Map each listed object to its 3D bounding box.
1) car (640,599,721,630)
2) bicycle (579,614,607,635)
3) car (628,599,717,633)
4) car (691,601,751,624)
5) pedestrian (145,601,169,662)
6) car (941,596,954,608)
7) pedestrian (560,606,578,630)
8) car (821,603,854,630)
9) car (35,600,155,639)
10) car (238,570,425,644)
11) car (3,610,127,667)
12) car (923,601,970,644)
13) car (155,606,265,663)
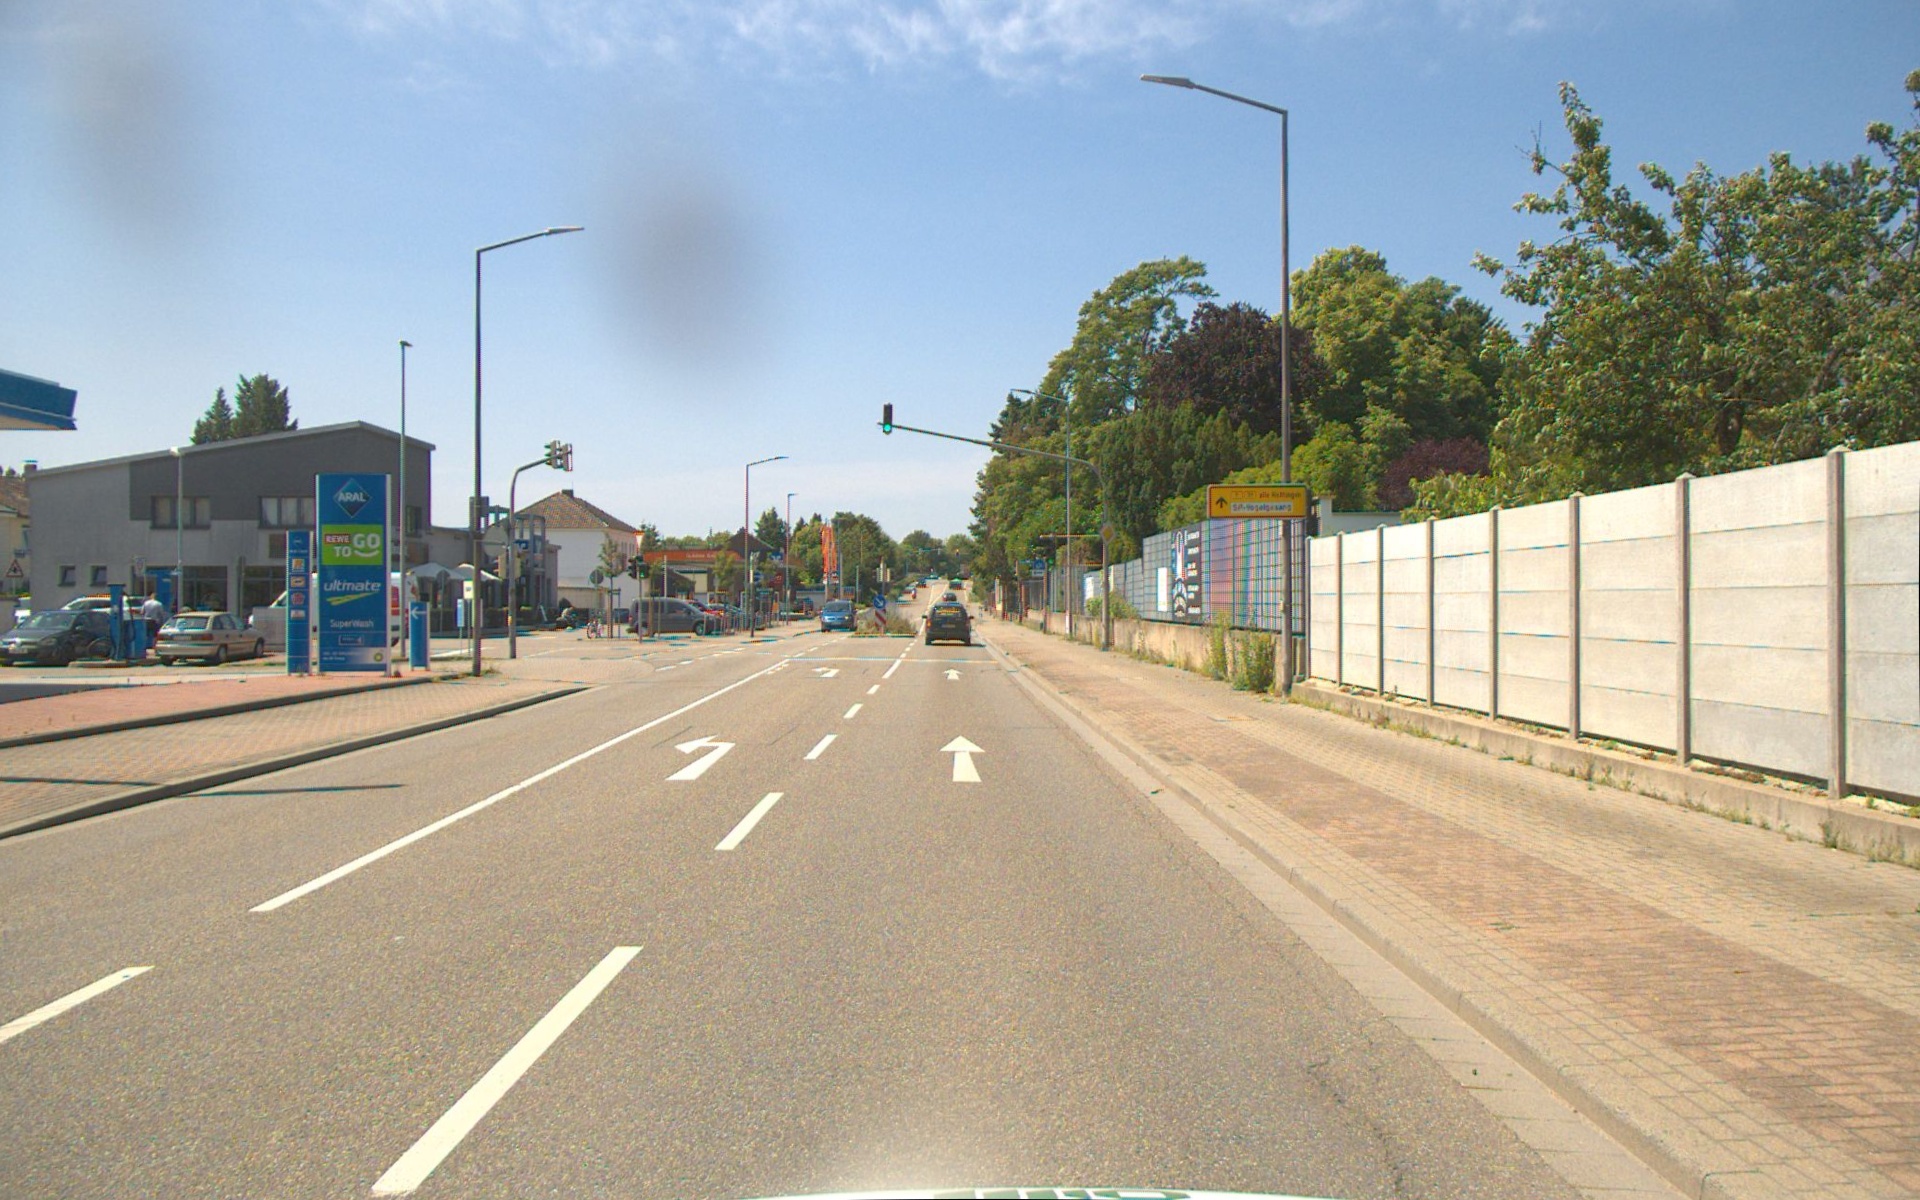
[{"bbox_3d":[-14.185,0.726,84.172,3.908,1.534,1.553,0,0,-4],"label":"car"},{"bbox_3d":[-14.958,1.001,67.484,0.600,0.807,2.574,0,0,-1],"label":"bicycle"},{"bbox_3d":[-13.286,0.741,76.603,3.908,1.534,1.553,0,0,-4],"label":"car"},{"bbox_3d":[-16.144,0.846,111.736,3.908,1.534,1.553,0,0,-4],"label":"car"},{"bbox_3d":[-22.813,0.889,46.994,0.603,1.721,0.703,0,0,-27],"label":"pedestrian"},{"bbox_3d":[-1.551,0.205,201.357,1.631,1.481,3.471,0,0,-1],"label":"car"},{"bbox_3d":[-21.287,0.963,90.120,0.600,1.283,0.755,0,0,26],"label":"pedestrian"},{"bbox_3d":[-6.559,0.870,88.652,1.554,1.418,3.471,0,0,-1],"label":"car"},{"bbox_3d":[-34.205,0.751,65.486,3.908,1.534,1.553,0,0,-4],"label":"car"},{"bbox_3d":[-22.398,0.282,59.153,5.813,2.465,1.997,2,-2,-6],"label":"car"},{"bbox_3d":[-24.433,1.025,45.288,1.585,1.445,3.708,-2,0,-5],"label":"car"},{"bbox_3d":[-0.503,0.794,59.989,1.631,1.481,3.471,0,0,-1],"label":"car"},{"bbox_3d":[-20.757,0.920,45.904,1.585,1.445,3.708,-2,0,-5],"label":"car"}]
